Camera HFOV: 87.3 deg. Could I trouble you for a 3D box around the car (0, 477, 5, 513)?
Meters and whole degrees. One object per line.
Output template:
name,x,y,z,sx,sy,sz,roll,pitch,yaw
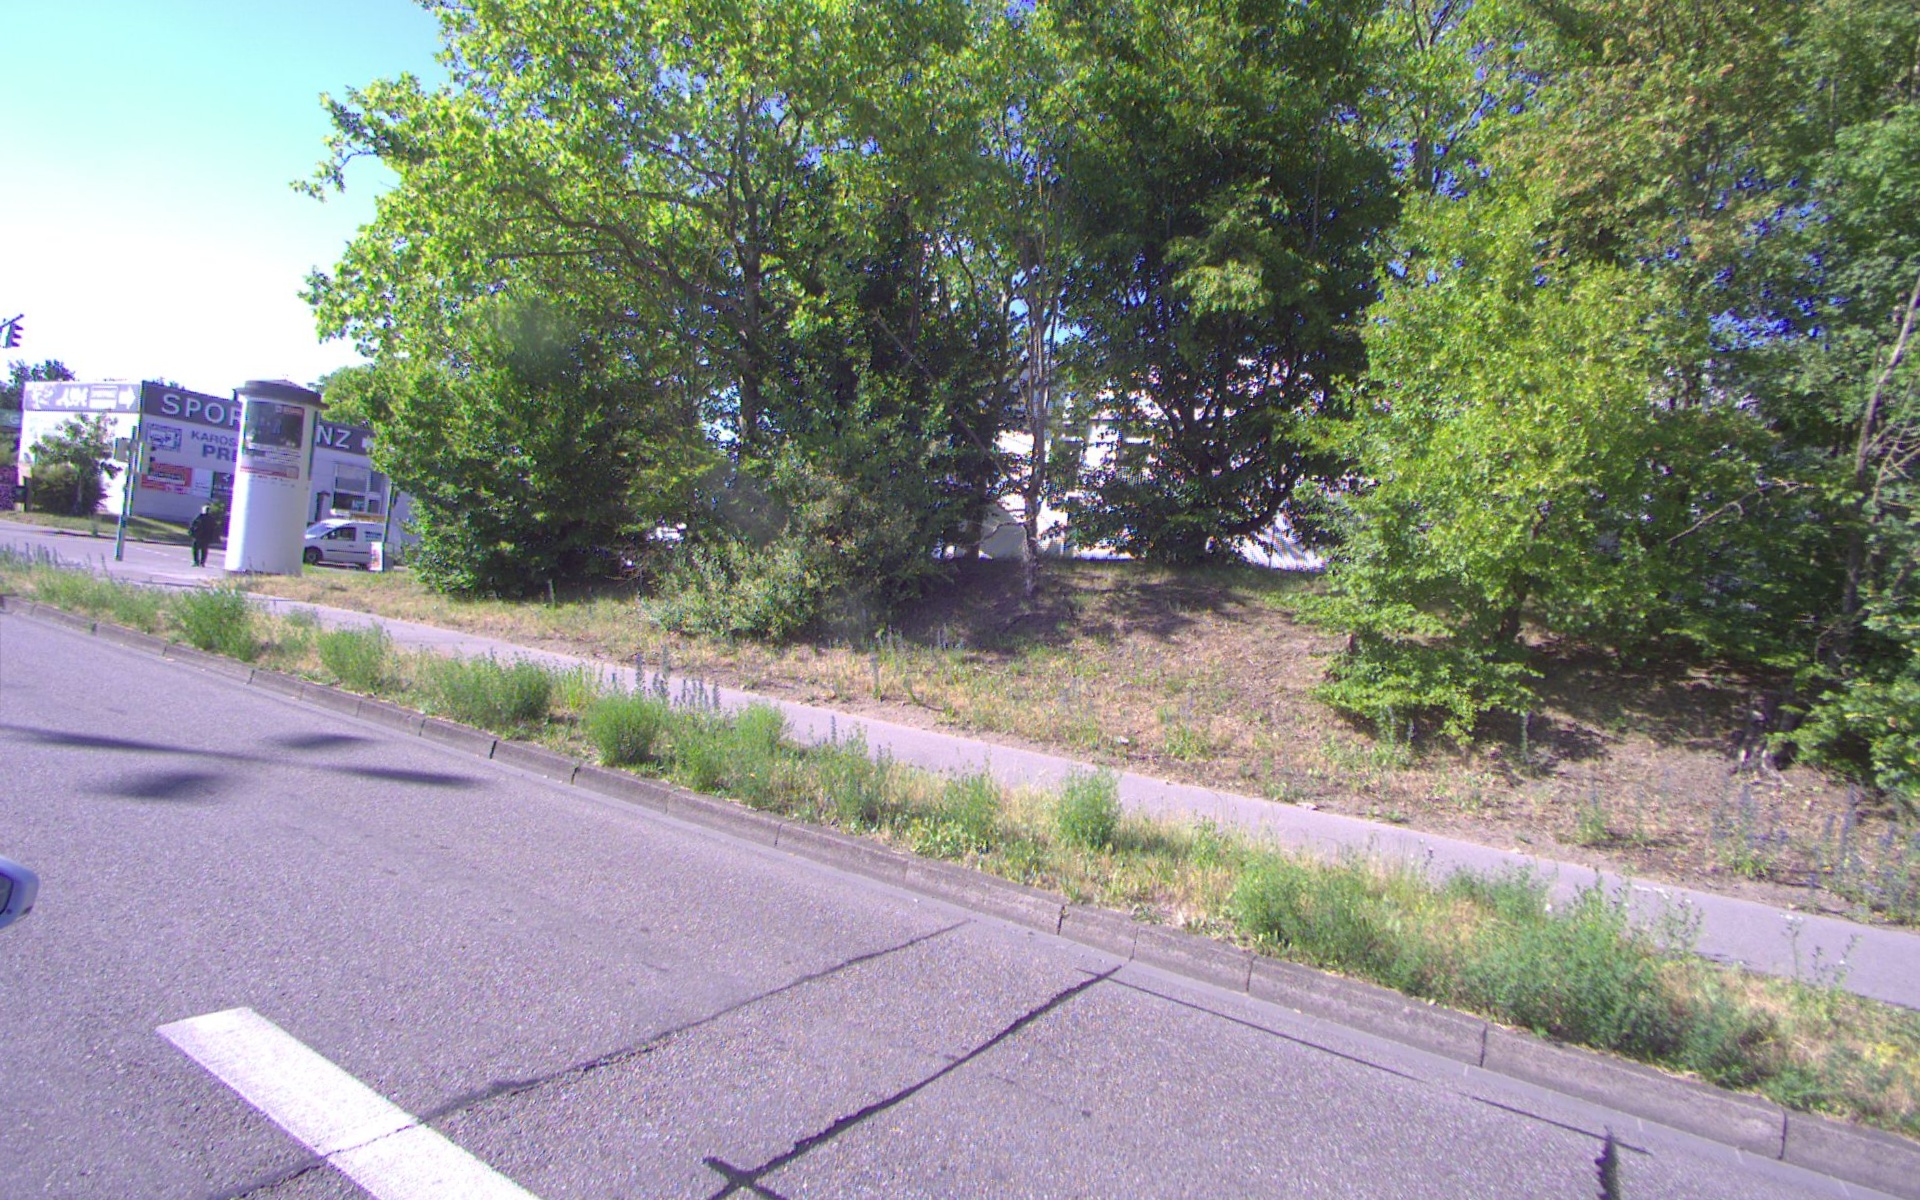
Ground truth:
car,-48.290,-5.350,47.693,1.663,1.726,4.003,7,-1,16

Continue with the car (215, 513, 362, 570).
car,-26.833,-2.288,40.354,1.965,1.571,4.415,7,-1,28

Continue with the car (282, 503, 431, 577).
car,-23.391,-2.293,39.182,1.965,2.171,4.415,7,-1,28

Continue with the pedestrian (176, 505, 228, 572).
pedestrian,-21.212,-1.723,28.151,0.841,1.743,0.822,7,0,39
